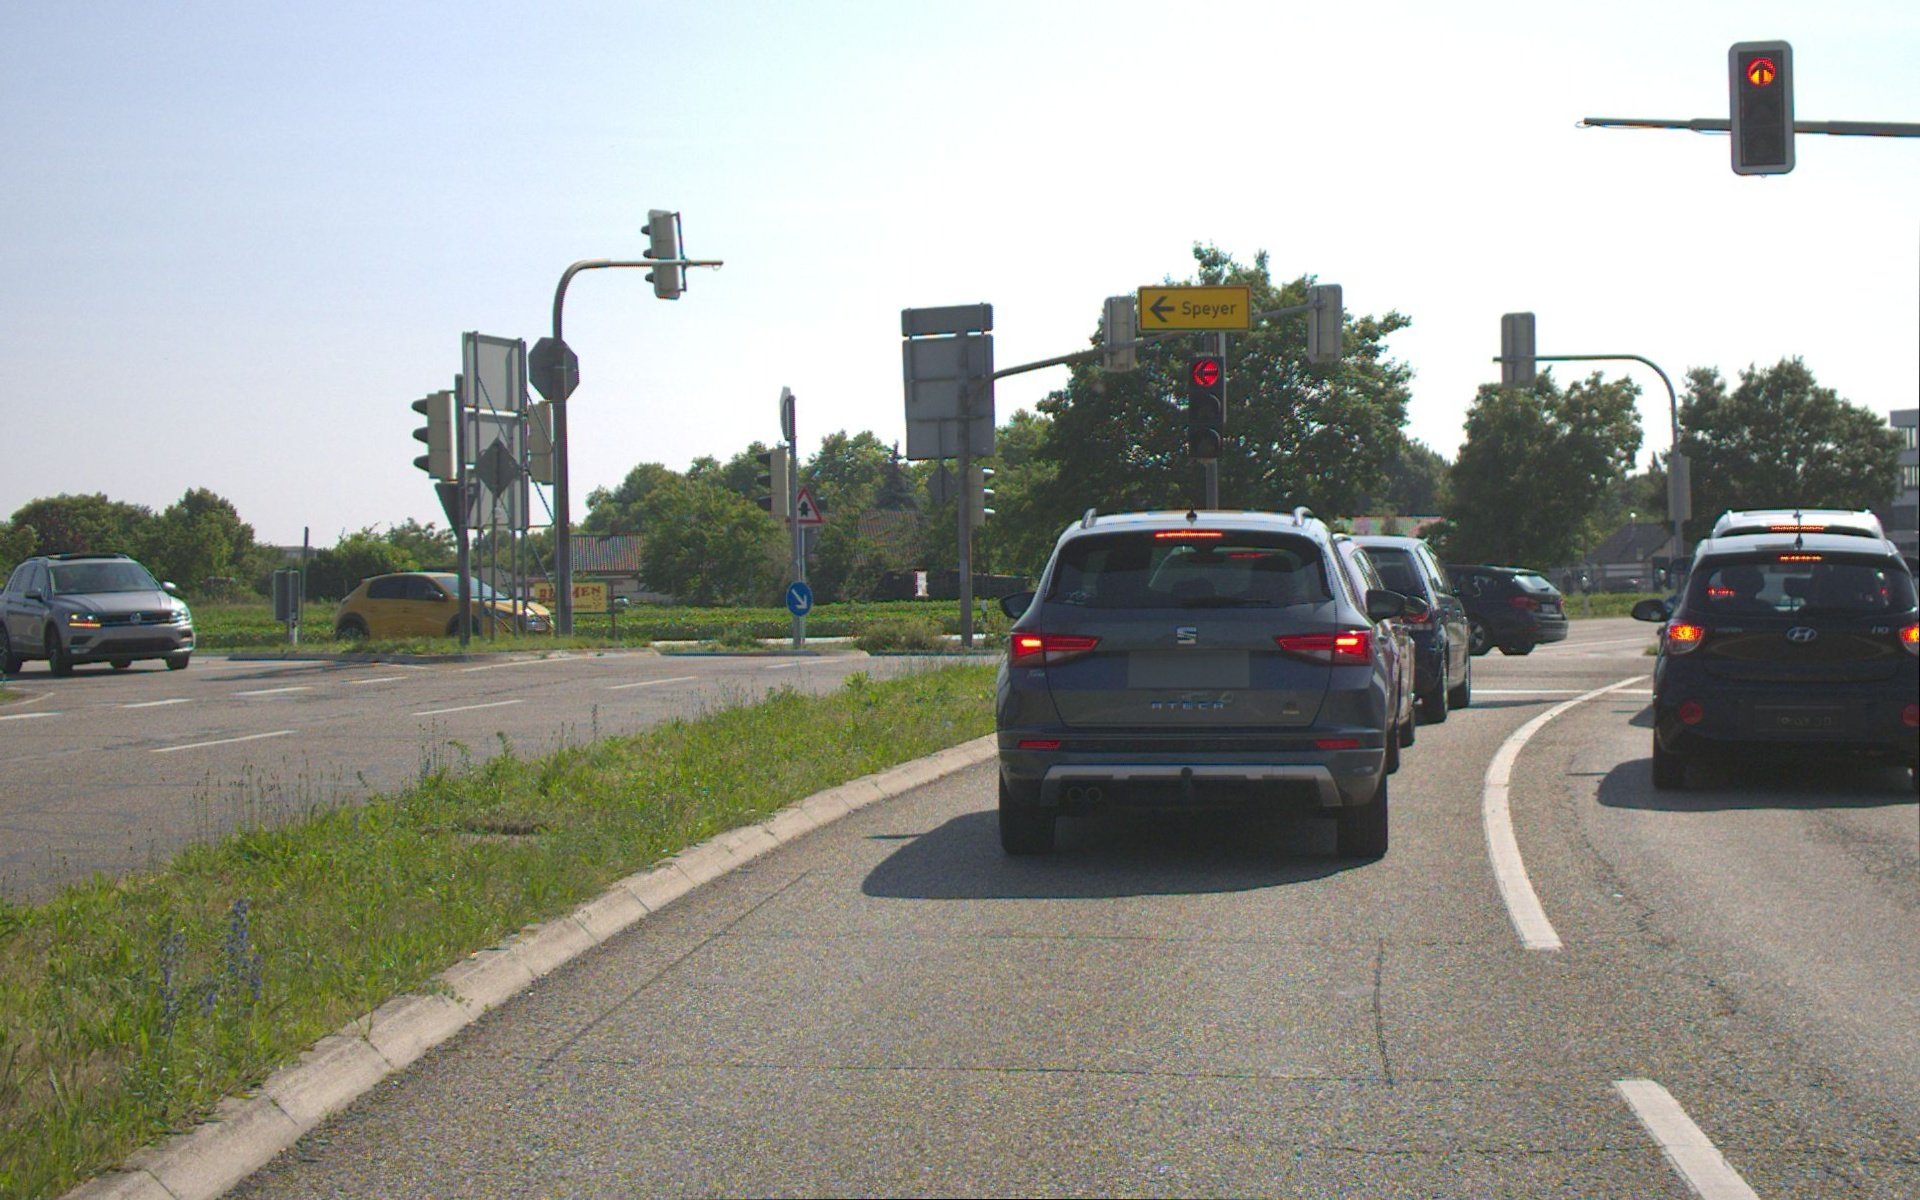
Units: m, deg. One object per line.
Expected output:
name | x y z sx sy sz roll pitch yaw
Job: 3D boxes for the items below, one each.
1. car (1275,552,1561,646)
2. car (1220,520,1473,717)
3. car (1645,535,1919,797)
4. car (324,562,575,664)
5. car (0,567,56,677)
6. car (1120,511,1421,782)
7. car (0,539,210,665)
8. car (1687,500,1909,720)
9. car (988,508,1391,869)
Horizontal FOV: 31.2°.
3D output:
car | 7.159 -0.018 53.864 4.098 1.411 1.713 0 1 33
car | 3.222 0.118 28.117 1.743 1.479 3.622 1 1 11
car | 5.023 0.334 20.783 1.634 1.443 3.293 1 1 13
car | -8.616 0.211 57.974 3.994 1.645 1.817 0 1 34
car | -15.727 0.332 52.847 1.815 1.645 3.998 -1 1 -44
car | 2.037 0.249 22.090 1.742 1.563 3.623 1 1 7
car | -11.871 0.010 47.356 1.814 1.645 4.000 -1 1 -31
car | 6.830 0.047 28.190 1.634 1.671 3.747 1 1 13
car | 1.174 0.358 16.775 1.742 1.563 3.623 0 1 6
